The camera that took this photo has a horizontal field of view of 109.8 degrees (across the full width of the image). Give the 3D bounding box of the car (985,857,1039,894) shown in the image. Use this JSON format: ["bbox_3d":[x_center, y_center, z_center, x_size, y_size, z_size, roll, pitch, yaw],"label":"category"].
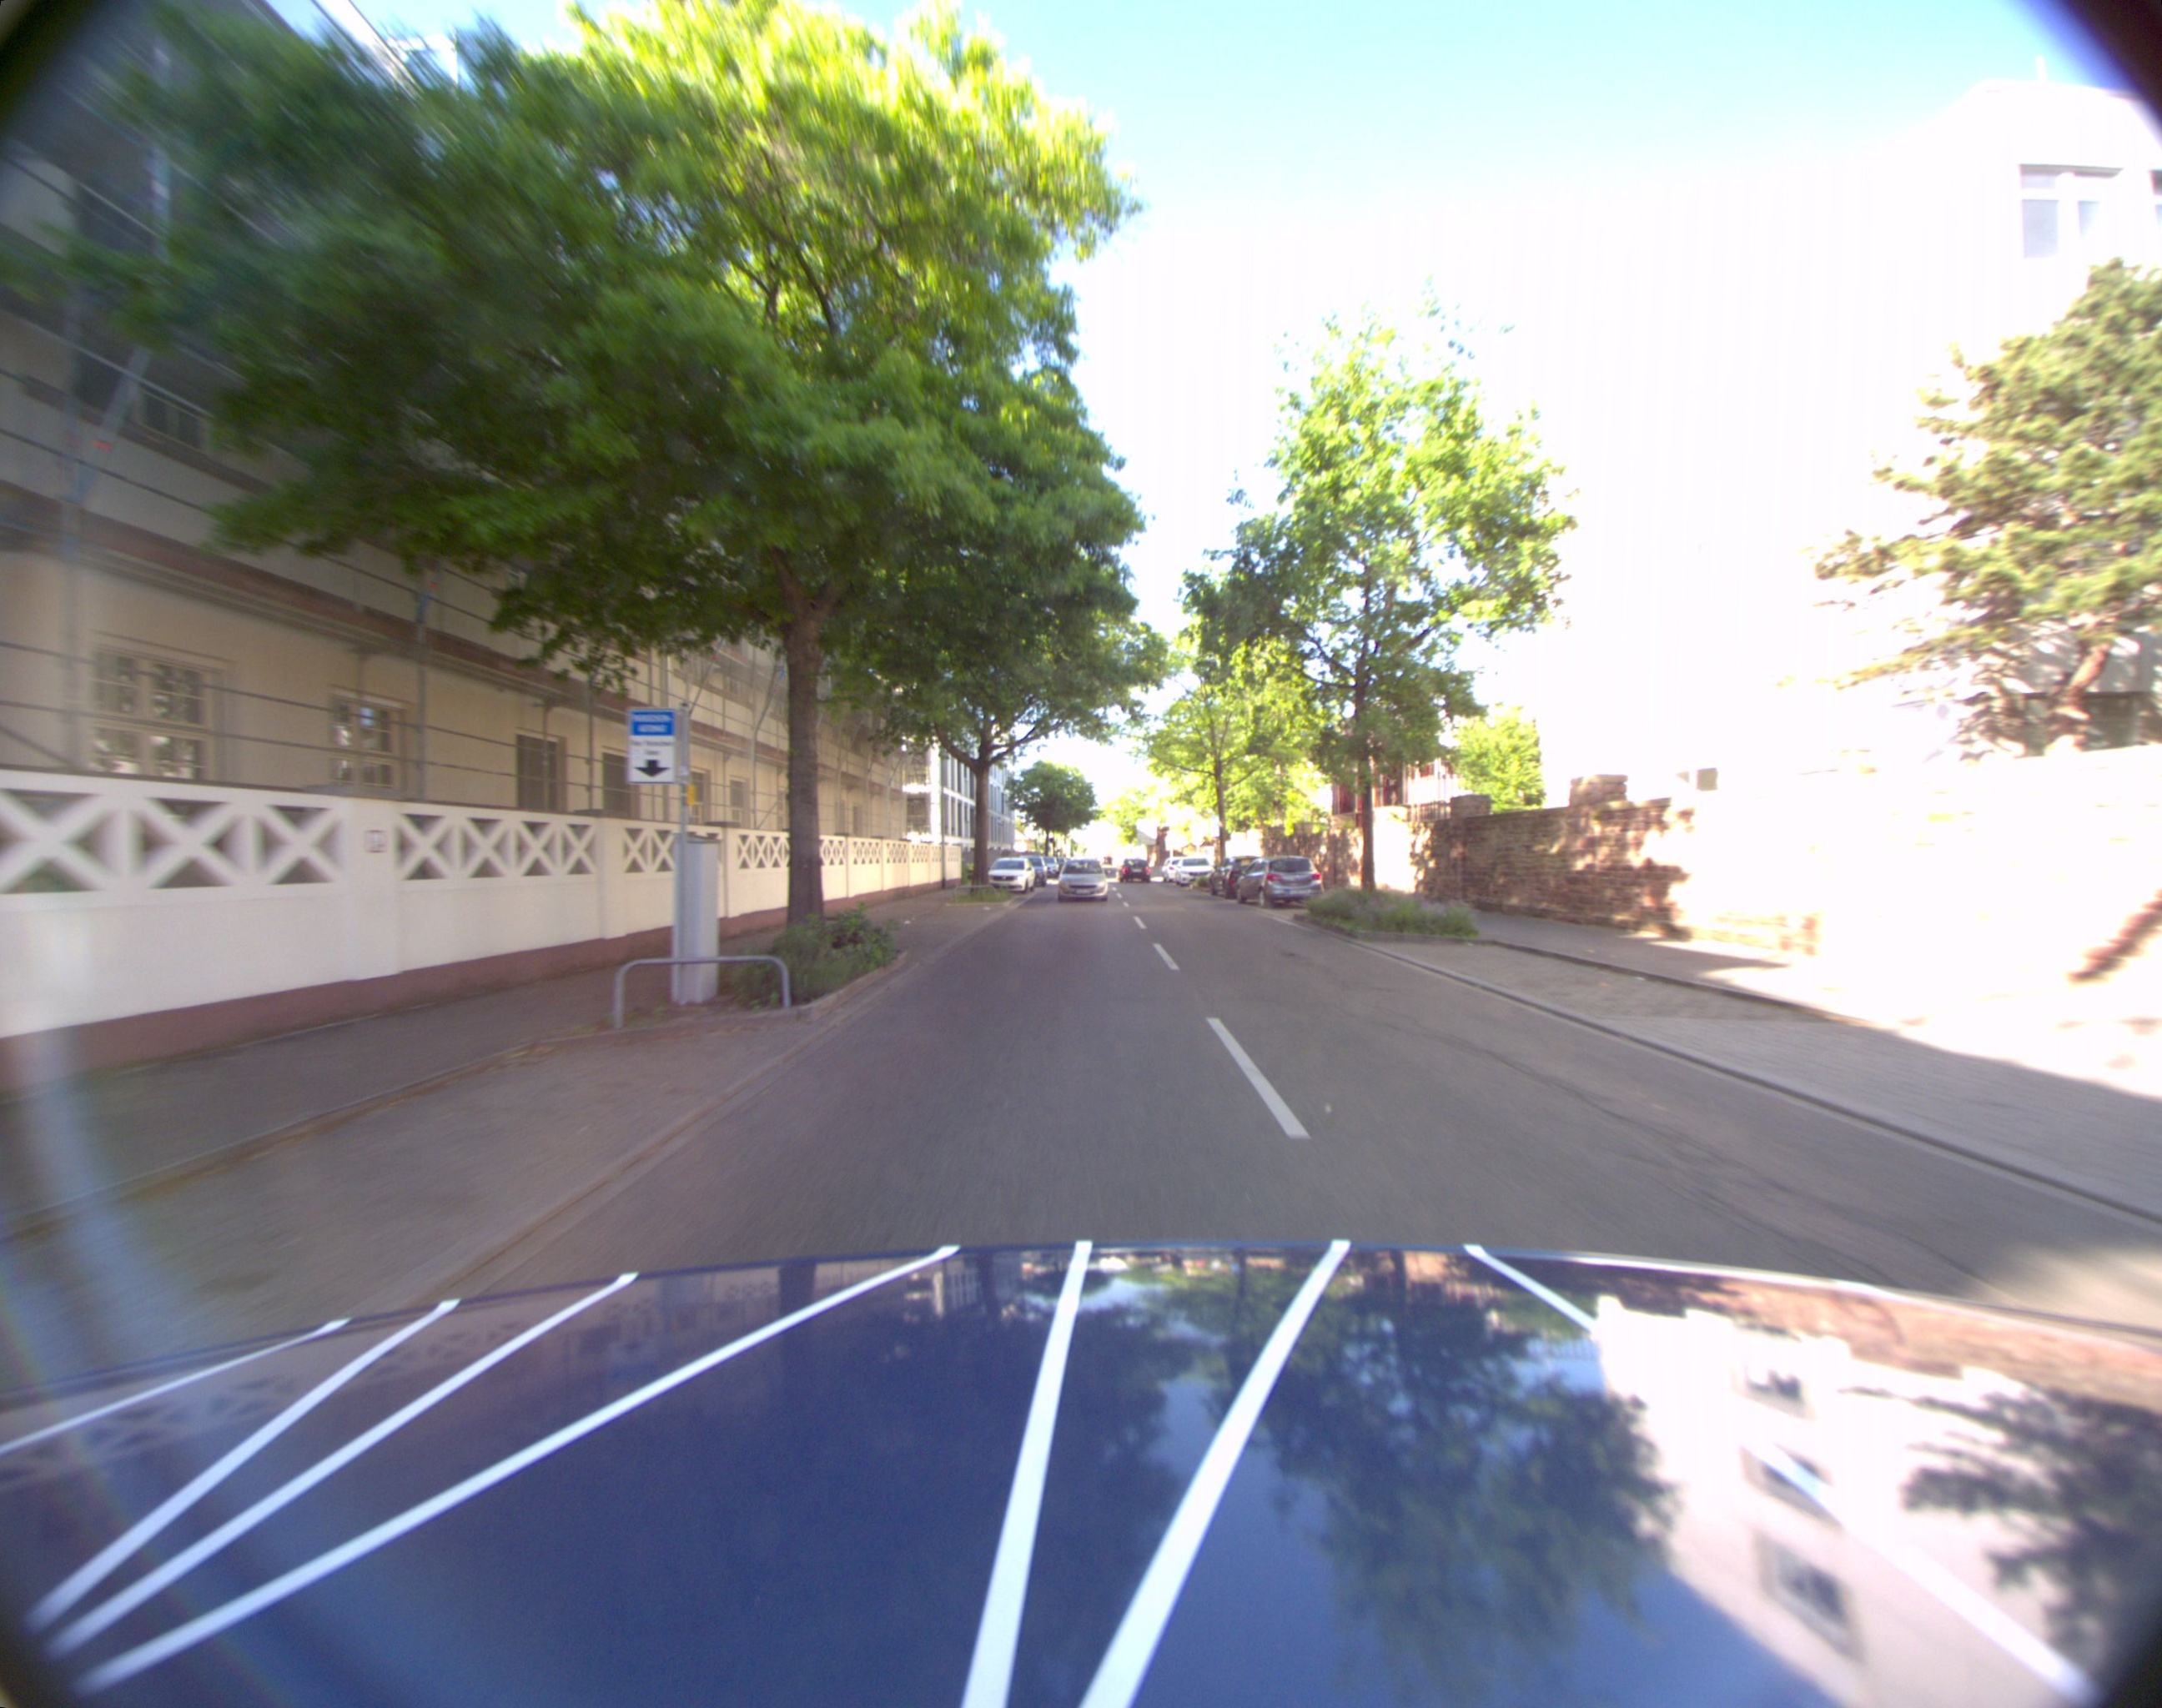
[{"bbox_3d":[-2.936,0.875,32.944,1.727,1.501,3.993,0,0,4],"label":"car"}]

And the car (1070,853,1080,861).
[{"bbox_3d":[-1.104,0.601,146.564,1.757,1.459,3.485,-3,0,0],"label":"car"}]

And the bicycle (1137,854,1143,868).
[{"bbox_3d":[4.821,0.540,62.252,0.358,1.114,1.866,-3,1,2],"label":"bicycle"}]

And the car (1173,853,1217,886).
[{"bbox_3d":[5.833,0.766,39.251,1.681,1.502,3.849,-4,0,1],"label":"car"}]

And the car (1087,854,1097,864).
[{"bbox_3d":[1.993,0.888,137.272,1.834,1.732,4.000,-3,0,0],"label":"car"}]

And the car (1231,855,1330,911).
[{"bbox_3d":[5.856,0.794,22.737,1.691,1.413,3.837,-3,0,-3],"label":"car"}]

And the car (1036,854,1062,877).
[{"bbox_3d":[-2.400,0.859,57.477,1.797,1.606,4.126,-2,0,-1],"label":"car"}]

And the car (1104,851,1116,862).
[{"bbox_3d":[4.470,0.369,118.663,1.648,1.602,4.020,1,0,-1],"label":"car"}]

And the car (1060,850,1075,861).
[{"bbox_3d":[-1.933,0.208,108.023,1.887,1.592,4.298,-2,0,1],"label":"car"}]

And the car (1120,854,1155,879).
[{"bbox_3d":[3.365,0.703,45.943,1.826,1.427,3.969,1,0,1],"label":"car"}]

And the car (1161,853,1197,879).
[{"bbox_3d":[5.877,0.708,45.743,1.578,1.394,3.750,-5,0,0],"label":"car"}]

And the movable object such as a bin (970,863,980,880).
[{"bbox_3d":[-6.189,1.024,44.365,0.435,0.958,0.511,-3,1,5],"label":"movable object such as a bin"}]

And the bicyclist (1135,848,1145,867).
[{"bbox_3d":[4.809,0.253,62.271,0.722,1.513,1.005,-3,1,4],"label":"bicyclist"}]

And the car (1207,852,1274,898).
[{"bbox_3d":[5.769,0.701,27.951,1.577,1.506,4.044,-2,0,0],"label":"car"}]

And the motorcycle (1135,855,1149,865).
[{"bbox_3d":[6.916,0.662,86.149,0.599,1.026,2.132,-1,0,35],"label":"motorcycle"}]

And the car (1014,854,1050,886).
[{"bbox_3d":[-2.642,0.829,41.746,1.716,1.629,4.302,-1,0,-1],"label":"car"}]

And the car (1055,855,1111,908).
[{"bbox_3d":[0.127,0.914,27.059,1.747,1.613,4.106,-3,0,2],"label":"car"}]
